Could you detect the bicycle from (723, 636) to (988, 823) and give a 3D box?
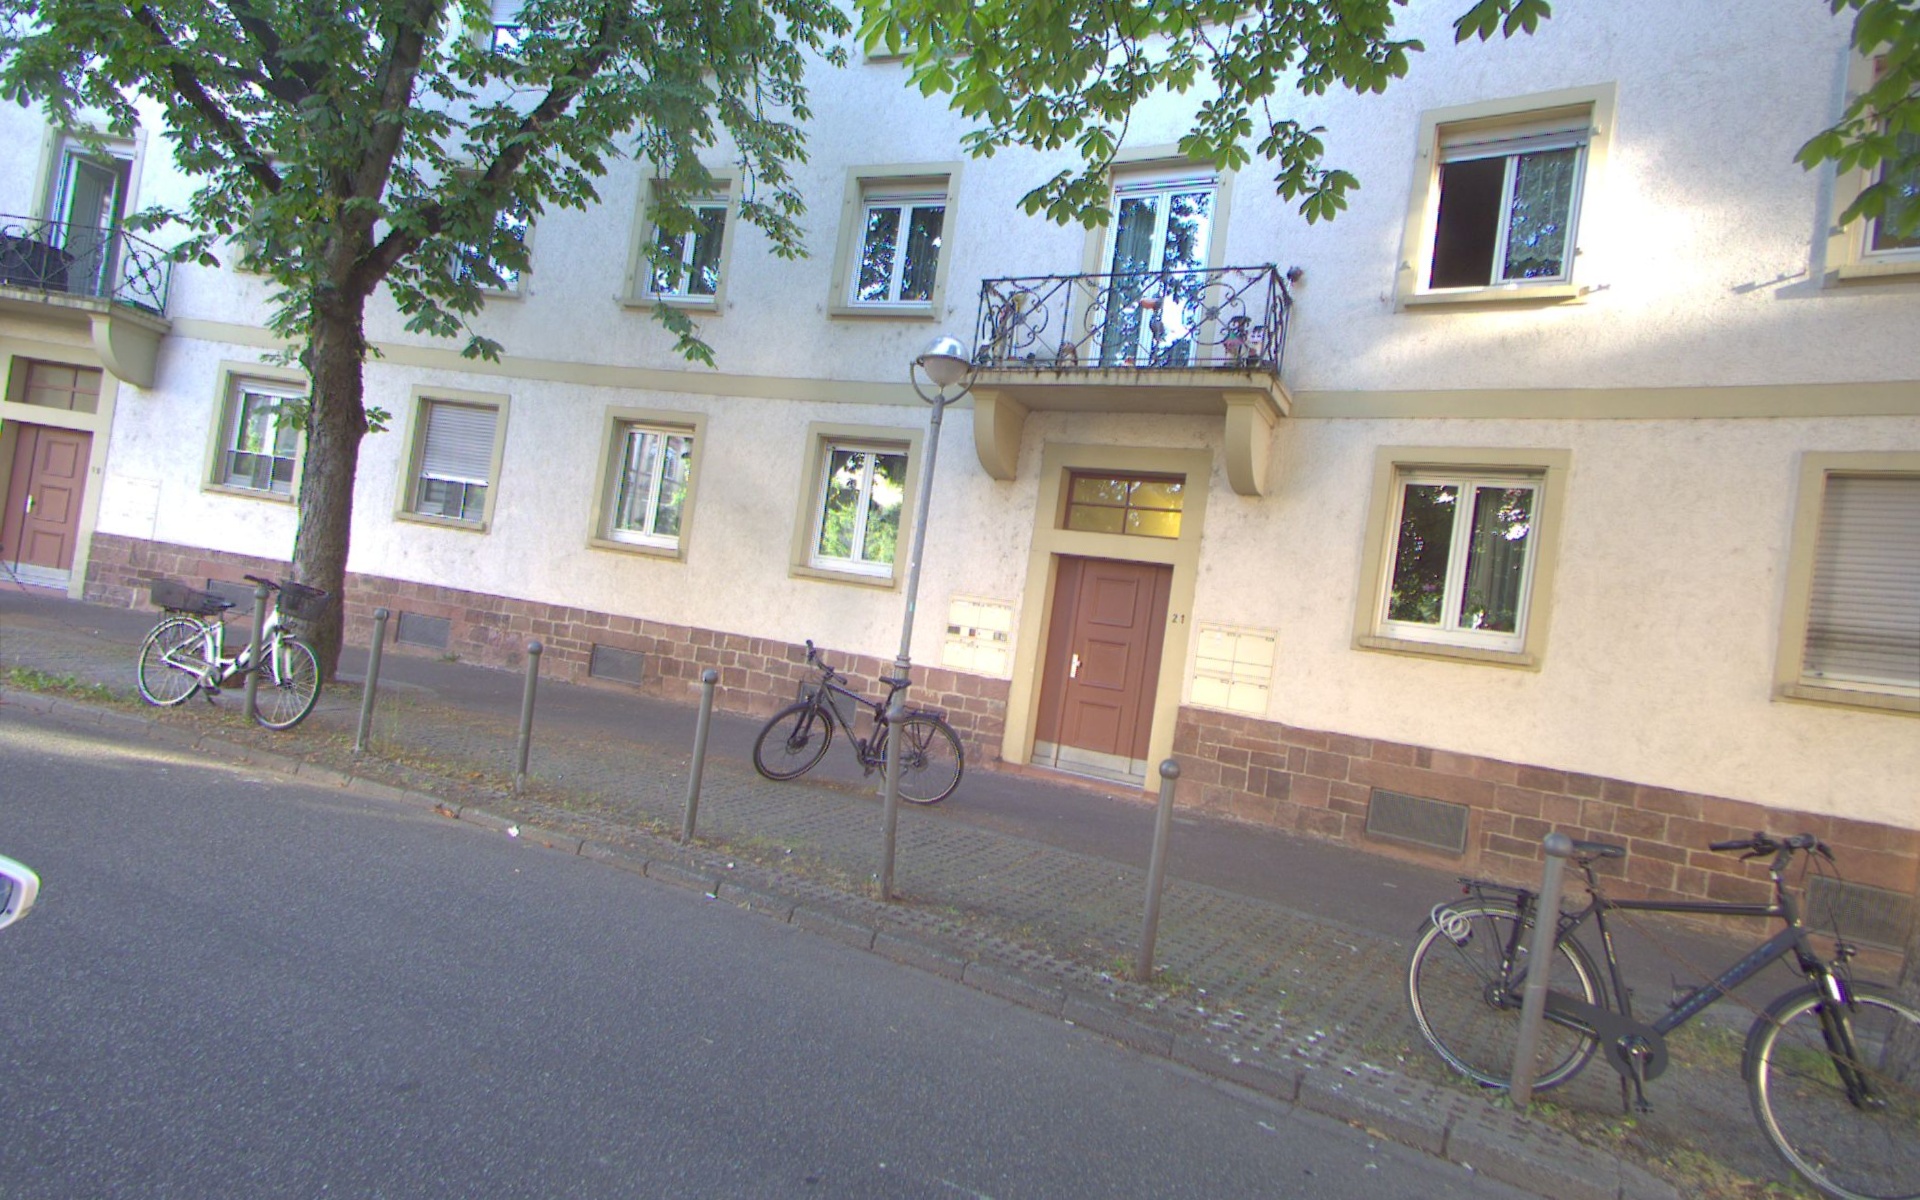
[{"bbox_3d":[-0.792,0.989,7.994,1.823,1.131,0.804,8,-1,8],"label":"bicycle"}]

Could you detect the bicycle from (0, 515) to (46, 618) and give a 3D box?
[{"bbox_3d":[-11.703,-0.504,11.567,1.929,1.120,0.670,8,-2,13],"label":"bicycle"}]

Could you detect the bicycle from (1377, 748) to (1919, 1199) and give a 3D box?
[{"bbox_3d":[2.631,1.327,3.634,1.881,1.237,0.719,7,-1,29],"label":"bicycle"}]

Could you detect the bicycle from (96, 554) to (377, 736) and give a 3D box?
[{"bbox_3d":[-5.622,0.331,7.823,1.936,1.109,0.514,8,0,12],"label":"bicycle"}]
